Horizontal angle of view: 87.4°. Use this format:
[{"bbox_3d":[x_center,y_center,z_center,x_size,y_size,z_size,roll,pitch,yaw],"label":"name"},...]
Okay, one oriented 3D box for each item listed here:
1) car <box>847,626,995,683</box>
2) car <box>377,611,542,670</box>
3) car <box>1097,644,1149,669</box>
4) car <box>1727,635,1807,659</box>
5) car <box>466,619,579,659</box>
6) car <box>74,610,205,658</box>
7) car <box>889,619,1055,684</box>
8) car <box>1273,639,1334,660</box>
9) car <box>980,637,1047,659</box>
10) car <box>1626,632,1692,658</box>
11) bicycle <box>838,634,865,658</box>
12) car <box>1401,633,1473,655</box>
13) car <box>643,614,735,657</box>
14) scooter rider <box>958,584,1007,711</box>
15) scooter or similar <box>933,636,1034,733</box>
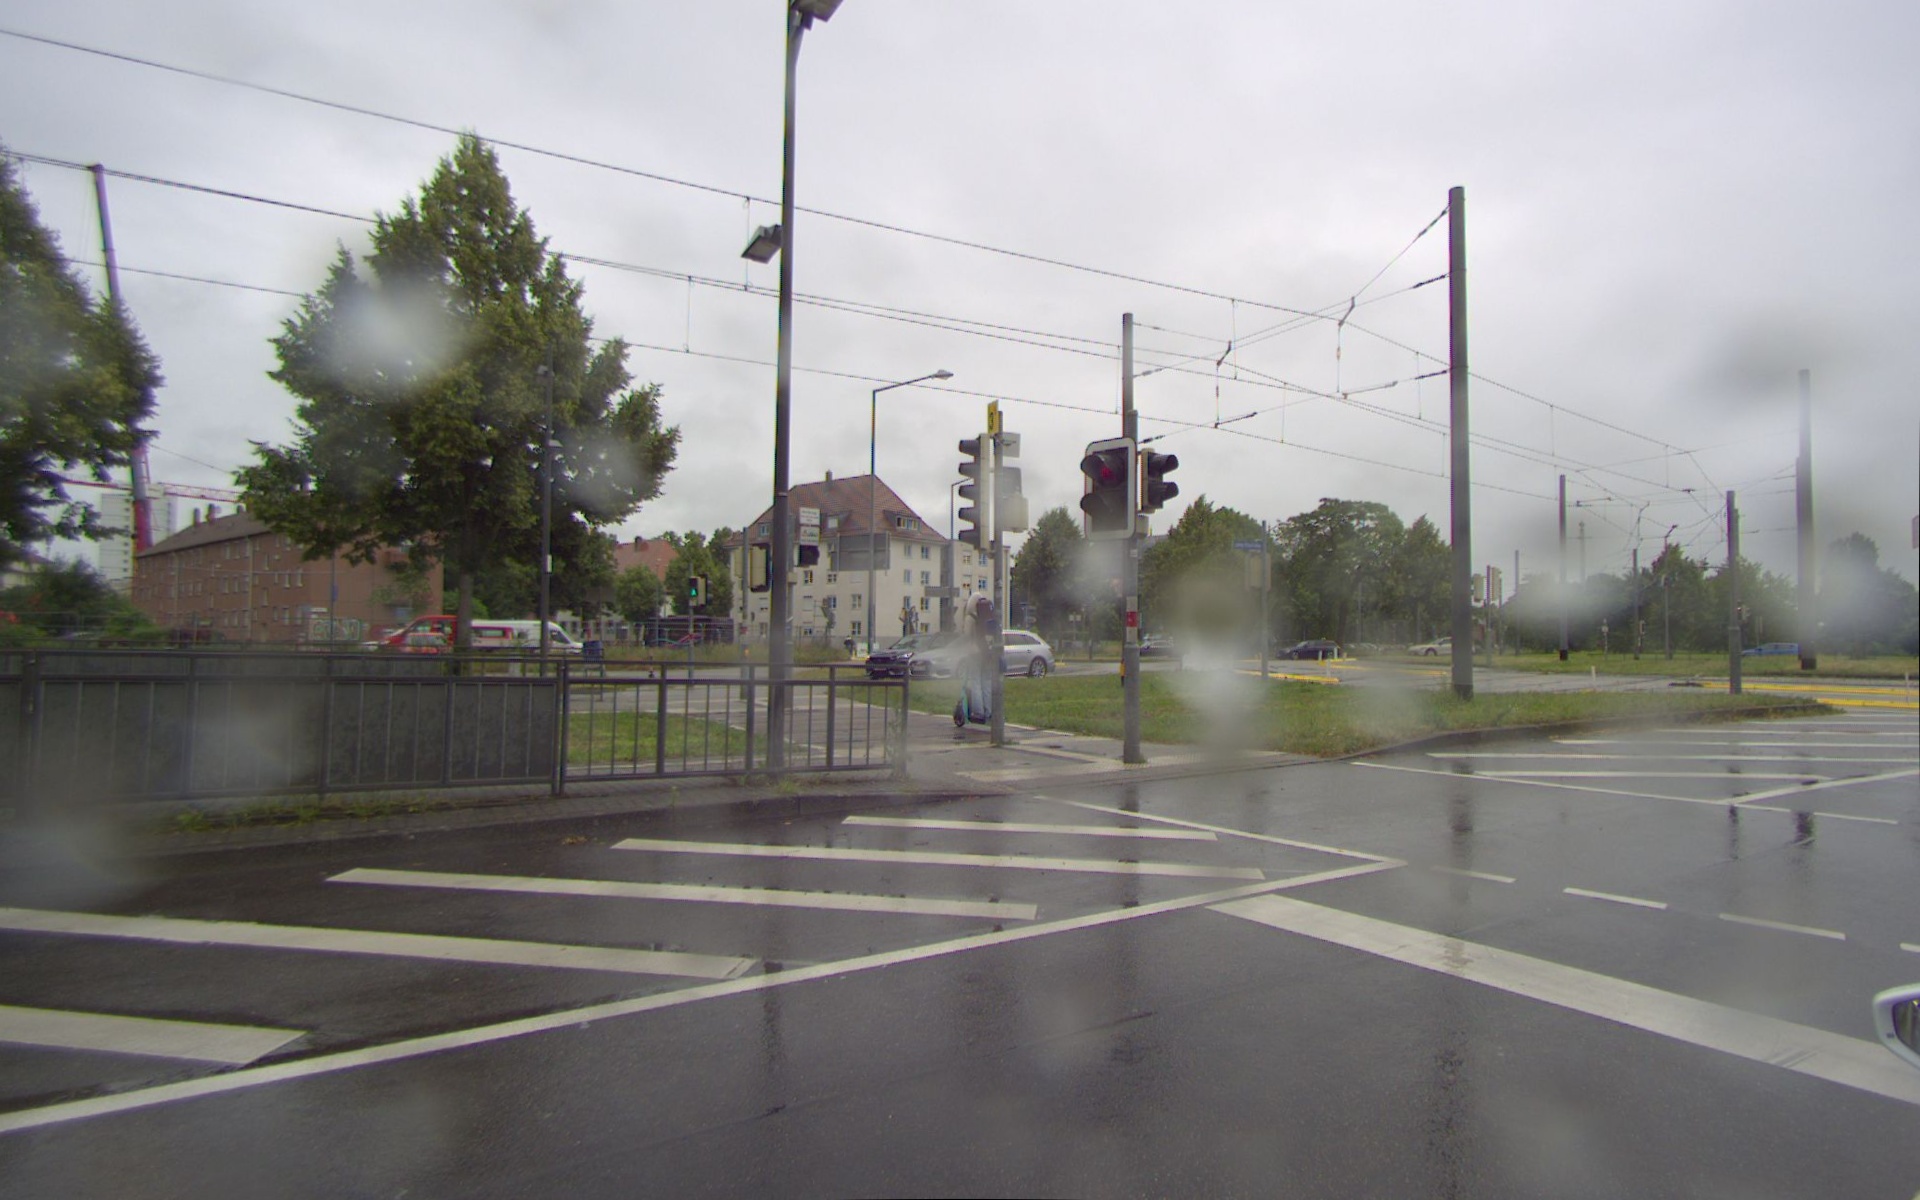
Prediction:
[{"bbox_3d":[-1.145,1.647,31.174,4.371,1.649,1.975,2,-2,-42],"label":"car"},{"bbox_3d":[-22.222,1.801,44.879,6.389,2.502,1.616,1,-2,-20],"label":"car"},{"bbox_3d":[11.476,4.002,70.976,3.414,1.563,1.623,2,0,2],"label":"car"},{"bbox_3d":[53.275,3.078,66.383,1.611,1.473,3.939,2,-2,-42],"label":"car"},{"bbox_3d":[-25.881,2.333,59.641,6.004,2.308,1.617,1,-2,-18],"label":"car"},{"bbox_3d":[-45.325,1.887,55.687,5.441,2.485,1.980,2,0,-36],"label":"car"},{"bbox_3d":[0.386,1.365,27.379,4.371,1.649,1.975,2,-2,-42],"label":"car"},{"bbox_3d":[25.028,3.576,73.192,3.915,1.473,1.621,1,-2,-10],"label":"car"},{"bbox_3d":[3.809,3.408,71.634,4.529,1.473,1.624,0,-2,14],"label":"car"},{"bbox_3d":[54.281,3.503,78.031,3.921,1.840,1.681,2,0,-1],"label":"car"},{"bbox_3d":[-9.515,4.051,88.158,2.226,2.040,0.508,2,0,9],"label":"bicycle"},{"bbox_3d":[32.067,2.937,67.576,4.033,1.473,1.623,0,-2,-3],"label":"car"},{"bbox_3d":[-25.625,3.251,94.549,10.793,3.770,2.447,0,-2,39],"label":"car"},{"bbox_3d":[0.311,0.666,14.022,0.431,1.731,0.526,2,-4,-43],"label":"scooter rider"},{"bbox_3d":[0.306,1.148,14.010,0.444,1.275,1.571,2,-3,-42],"label":"scooter or similar"}]
